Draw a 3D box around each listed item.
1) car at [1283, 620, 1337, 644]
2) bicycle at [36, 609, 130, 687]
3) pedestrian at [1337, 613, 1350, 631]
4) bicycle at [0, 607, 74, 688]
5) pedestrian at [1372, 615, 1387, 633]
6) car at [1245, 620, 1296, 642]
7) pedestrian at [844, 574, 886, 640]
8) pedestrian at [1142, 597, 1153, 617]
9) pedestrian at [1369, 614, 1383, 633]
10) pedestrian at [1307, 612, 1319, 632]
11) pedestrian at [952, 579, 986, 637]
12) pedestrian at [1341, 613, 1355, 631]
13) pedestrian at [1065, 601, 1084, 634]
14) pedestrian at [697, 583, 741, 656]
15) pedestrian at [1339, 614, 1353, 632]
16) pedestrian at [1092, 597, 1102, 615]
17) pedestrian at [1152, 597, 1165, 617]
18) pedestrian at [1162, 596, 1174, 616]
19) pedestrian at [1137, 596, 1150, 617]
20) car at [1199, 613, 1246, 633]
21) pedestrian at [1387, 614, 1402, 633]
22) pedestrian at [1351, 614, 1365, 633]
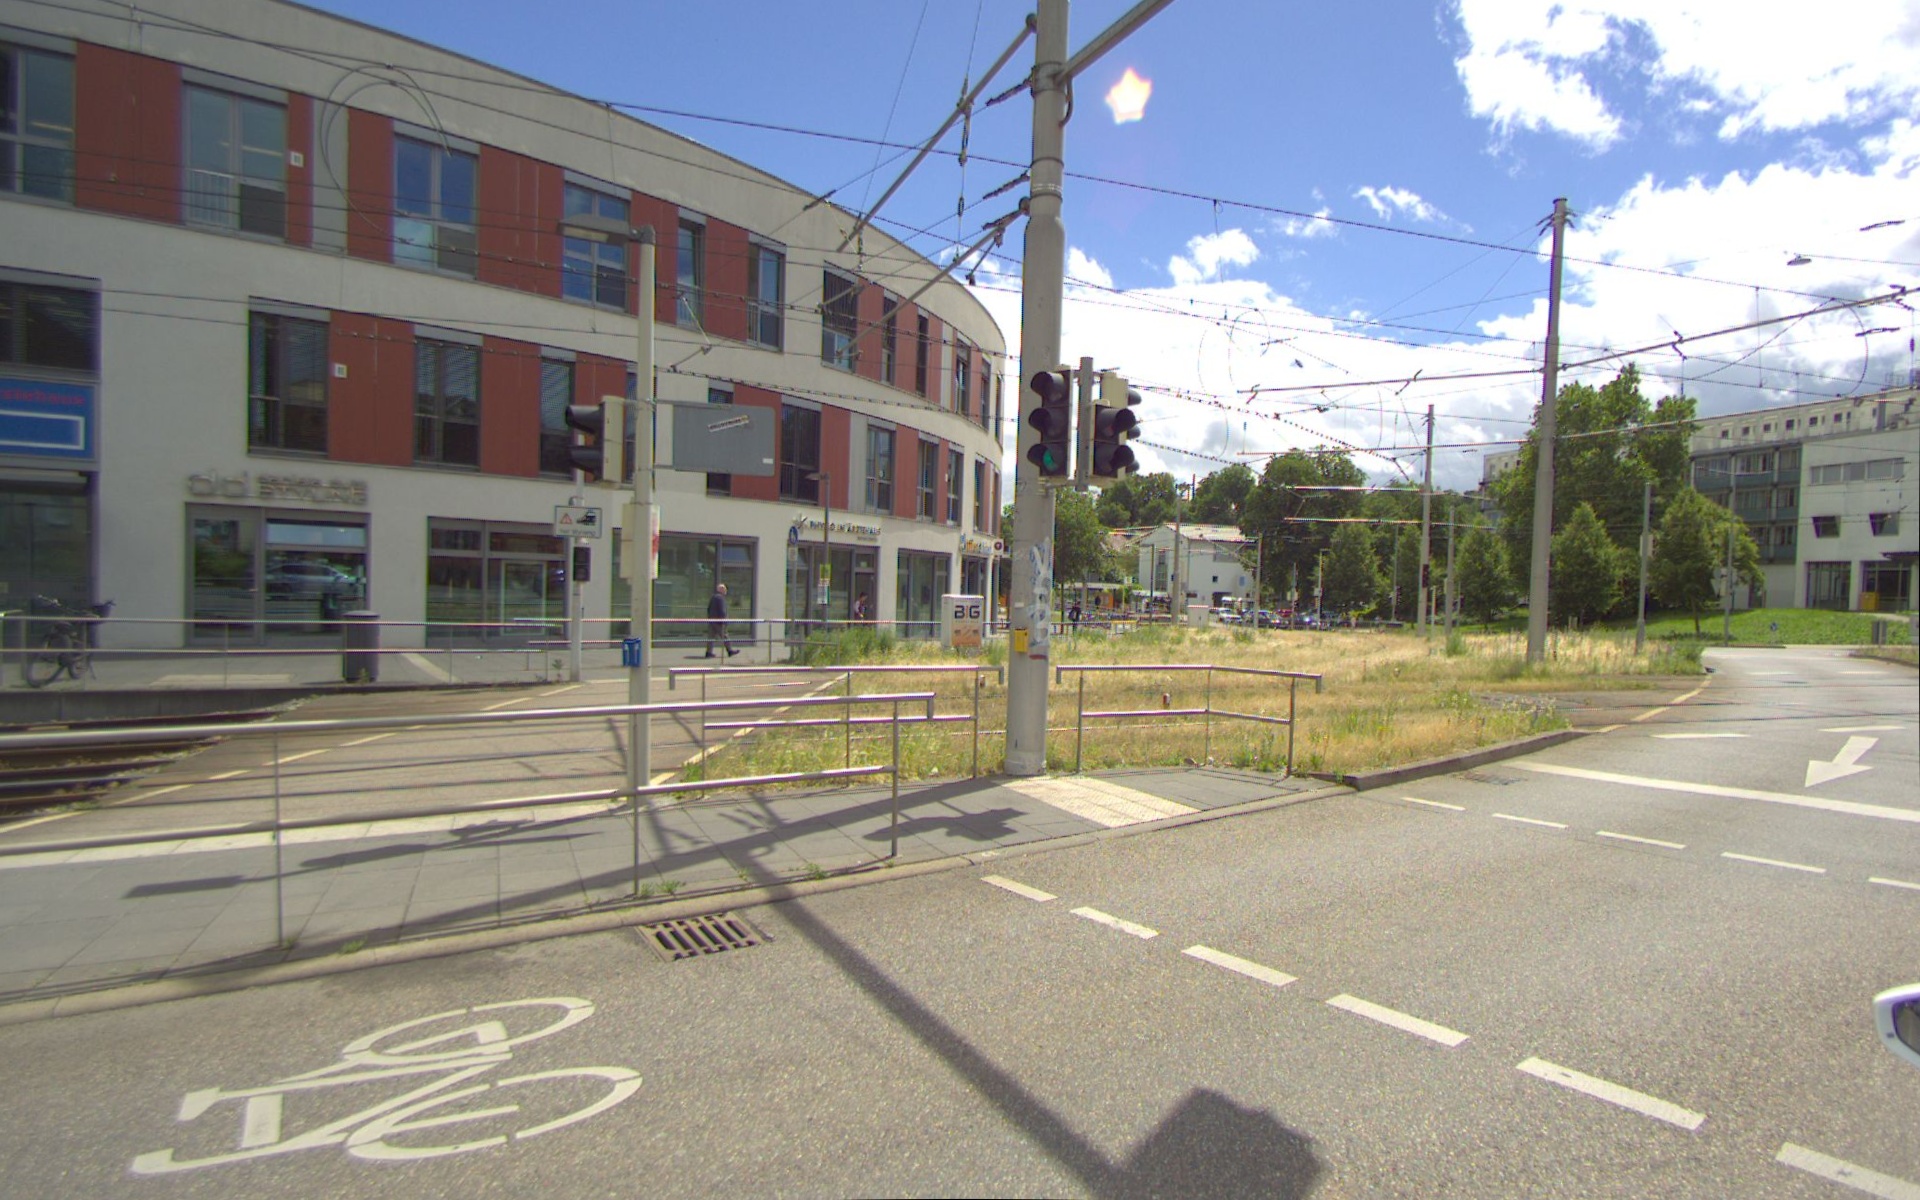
[{"bbox_3d":[27.554,2.507,79.216,1.989,1.814,4.227,1,-1,-15],"label":"car"},{"bbox_3d":[-11.967,0.628,13.751,0.422,0.965,1.731,2,0,-23],"label":"bicycle"},{"bbox_3d":[35.200,2.001,92.194,0.829,1.597,0.812,0,0,-21],"label":"pedestrian"},{"bbox_3d":[-12.517,0.607,13.452,0.422,0.970,1.731,2,0,-23],"label":"bicycle"},{"bbox_3d":[36.380,2.089,87.117,0.829,1.597,0.812,0,0,-21],"label":"pedestrian"},{"bbox_3d":[24.480,2.433,79.415,1.887,1.672,4.243,2,-1,-14],"label":"car"},{"bbox_3d":[-2.935,0.213,31.088,1.083,1.995,0.865,1,1,13],"label":"pedestrian"},{"bbox_3d":[16.511,0.629,88.418,0.743,1.707,0.672,1,0,-12],"label":"pedestrian"},{"bbox_3d":[36.577,2.067,88.311,0.829,1.597,0.812,0,0,-21],"label":"pedestrian"},{"bbox_3d":[34.474,2.143,98.147,0.817,1.891,0.818,1,0,-12],"label":"pedestrian"},{"bbox_3d":[0.331,0.265,35.395,0.848,1.995,1.116,1,1,21],"label":"pedestrian"},{"bbox_3d":[35.664,2.022,92.352,0.829,1.597,0.812,0,0,-21],"label":"pedestrian"},{"bbox_3d":[5.873,0.901,51.520,0.847,1.646,0.733,1,-1,11],"label":"pedestrian"},{"bbox_3d":[-5.459,0.431,22.751,0.725,1.601,0.687,1,1,44],"label":"pedestrian"},{"bbox_3d":[34.655,2.088,90.235,0.829,1.597,0.812,0,1,-21],"label":"pedestrian"},{"bbox_3d":[13.226,0.600,97.065,0.743,1.707,0.672,1,0,-12],"label":"pedestrian"},{"bbox_3d":[17.169,0.597,86.927,0.823,1.755,0.796,1,0,-12],"label":"pedestrian"},{"bbox_3d":[17.685,0.506,85.516,0.823,1.714,0.616,1,0,-12],"label":"pedestrian"},{"bbox_3d":[16.045,0.570,87.715,0.823,1.777,0.796,1,0,-12],"label":"pedestrian"},{"bbox_3d":[22.425,1.966,85.890,1.906,1.576,4.479,2,-1,-14],"label":"car"},{"bbox_3d":[36.723,2.013,84.920,0.829,1.597,0.812,0,0,-21],"label":"pedestrian"},{"bbox_3d":[35.734,2.107,90.288,0.829,1.597,0.812,0,1,-21],"label":"pedestrian"}]
